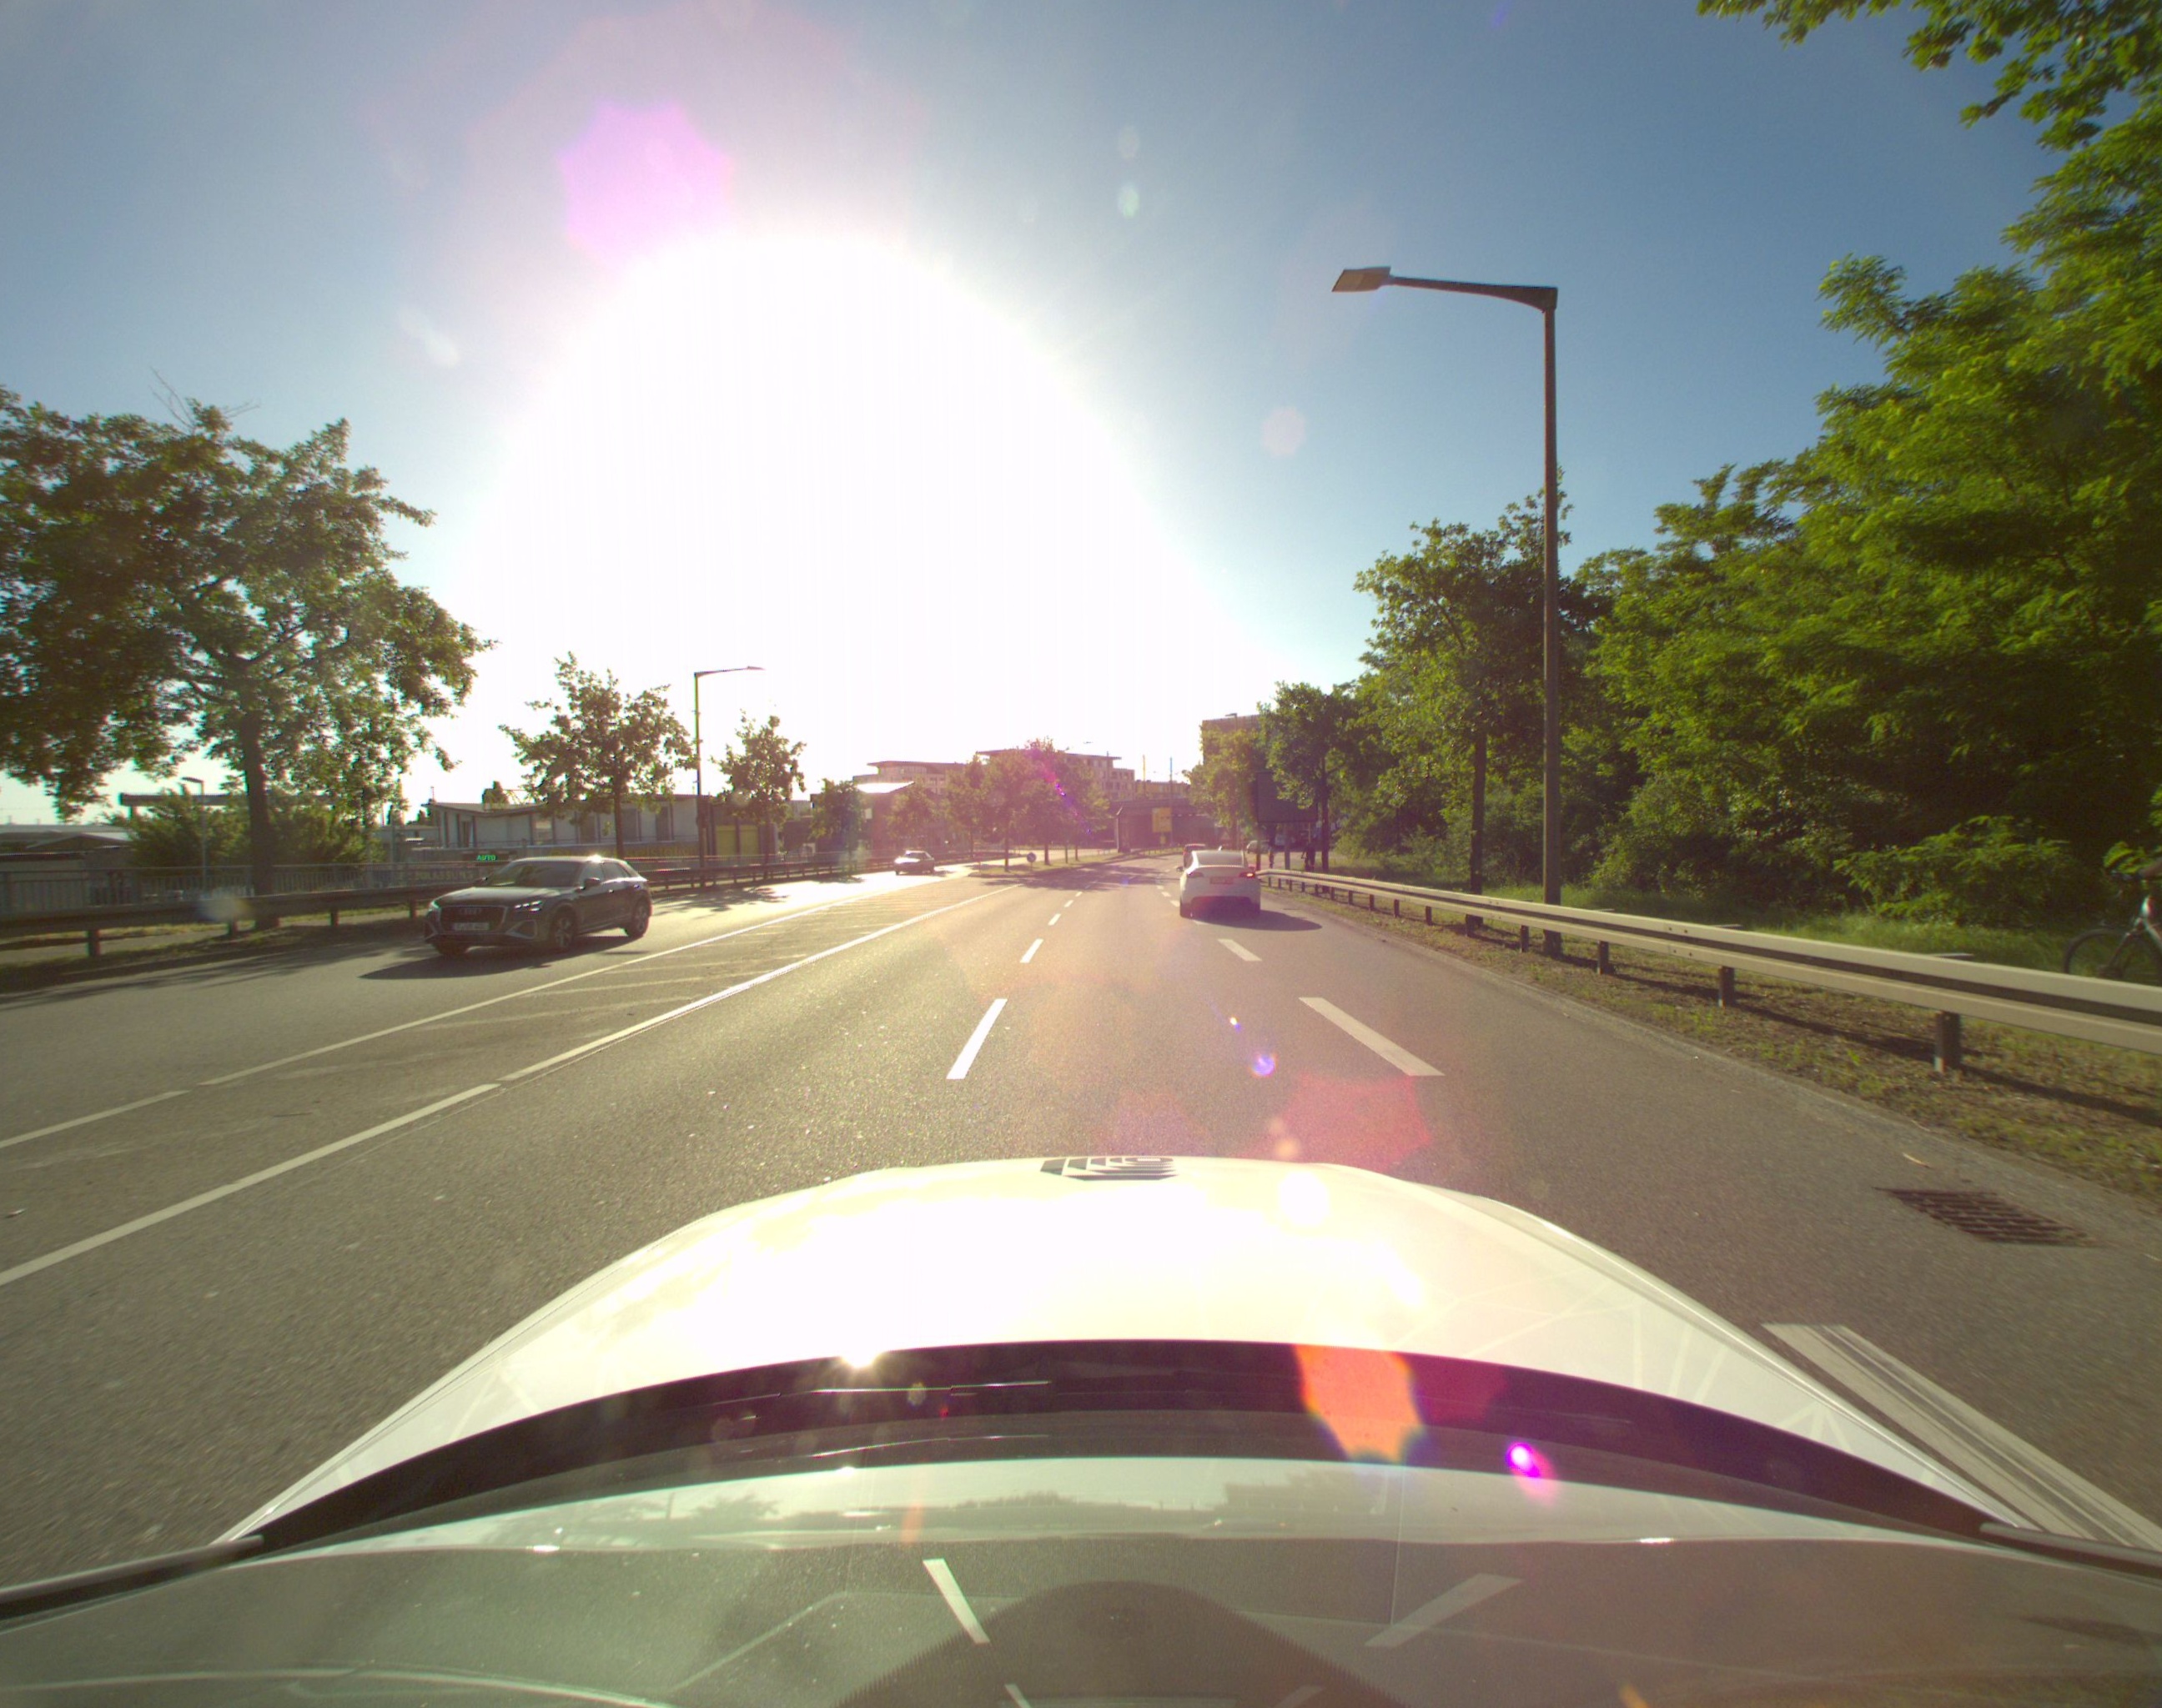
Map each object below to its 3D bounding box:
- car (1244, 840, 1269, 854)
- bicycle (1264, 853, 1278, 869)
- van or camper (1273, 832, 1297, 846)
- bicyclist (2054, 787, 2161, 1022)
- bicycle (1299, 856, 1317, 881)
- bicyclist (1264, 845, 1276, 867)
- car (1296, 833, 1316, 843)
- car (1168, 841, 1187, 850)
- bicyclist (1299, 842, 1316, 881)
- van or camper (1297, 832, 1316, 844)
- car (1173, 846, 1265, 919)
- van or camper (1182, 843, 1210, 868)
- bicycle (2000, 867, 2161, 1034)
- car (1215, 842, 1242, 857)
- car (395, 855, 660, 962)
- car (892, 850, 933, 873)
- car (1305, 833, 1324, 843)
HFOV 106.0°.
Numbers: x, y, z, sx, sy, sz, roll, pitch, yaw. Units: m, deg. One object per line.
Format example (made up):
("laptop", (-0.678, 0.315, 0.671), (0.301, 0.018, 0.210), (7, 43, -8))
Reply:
("car", (20.874, -0.856, 96.493), (1.747, 1.475, 4.316), (0, 2, 28))
("bicycle", (14.523, 0.551, 62.276), (0.737, 1.112, 2.463), (-3, 0, 19))
("van or camper", (27.475, -2.045, 109.795), (1.808, 1.790, 4.574), (1, 2, 32))
("bicyclist", (7.586, 0.325, 5.534), (0.704, 1.578, 1.006), (-3, 0, 4))
("bicycle", (10.553, 0.662, 37.921), (0.690, 1.095, 2.126), (-3, 0, 14))
("bicyclist", (14.444, 0.170, 62.187), (0.739, 1.619, 0.917), (-3, 0, 19))
("car", (34.103, -2.423, 123.554), (1.691, 1.522, 3.767), (1, 2, 36))
("car", (15.102, -1.383, 127.378), (1.784, 1.310, 4.640), (0, 1, 21))
("bicyclist", (10.514, 0.349, 37.831), (0.670, 1.776, 0.952), (-3, 0, 14))
("van or camper", (37.533, -2.641, 135.431), (1.737, 1.813, 3.984), (1, 2, 38))
("car", (3.358, 0.640, 20.627), (1.905, 1.641, 4.415), (1, 0, 4))
("van or camper", (9.482, 0.092, 66.980), (1.946, 1.883, 4.896), (-1, 2, 11))
("bicycle", (7.596, 0.655, 5.484), (0.697, 1.074, 1.923), (-3, -1, 5))
("car", (15.388, -0.476, 85.075), (1.589, 1.434, 3.702), (1, 3, 30))
("car", (-9.005, 0.777, 13.785), (1.758, 1.489, 4.271), (0, 0, -4))
("car", (-10.638, 0.451, 51.676), (1.725, 1.385, 4.493), (0, 0, -2))
("car", (36.993, -2.593, 129.151), (1.691, 1.522, 3.767), (1, 2, 36))
